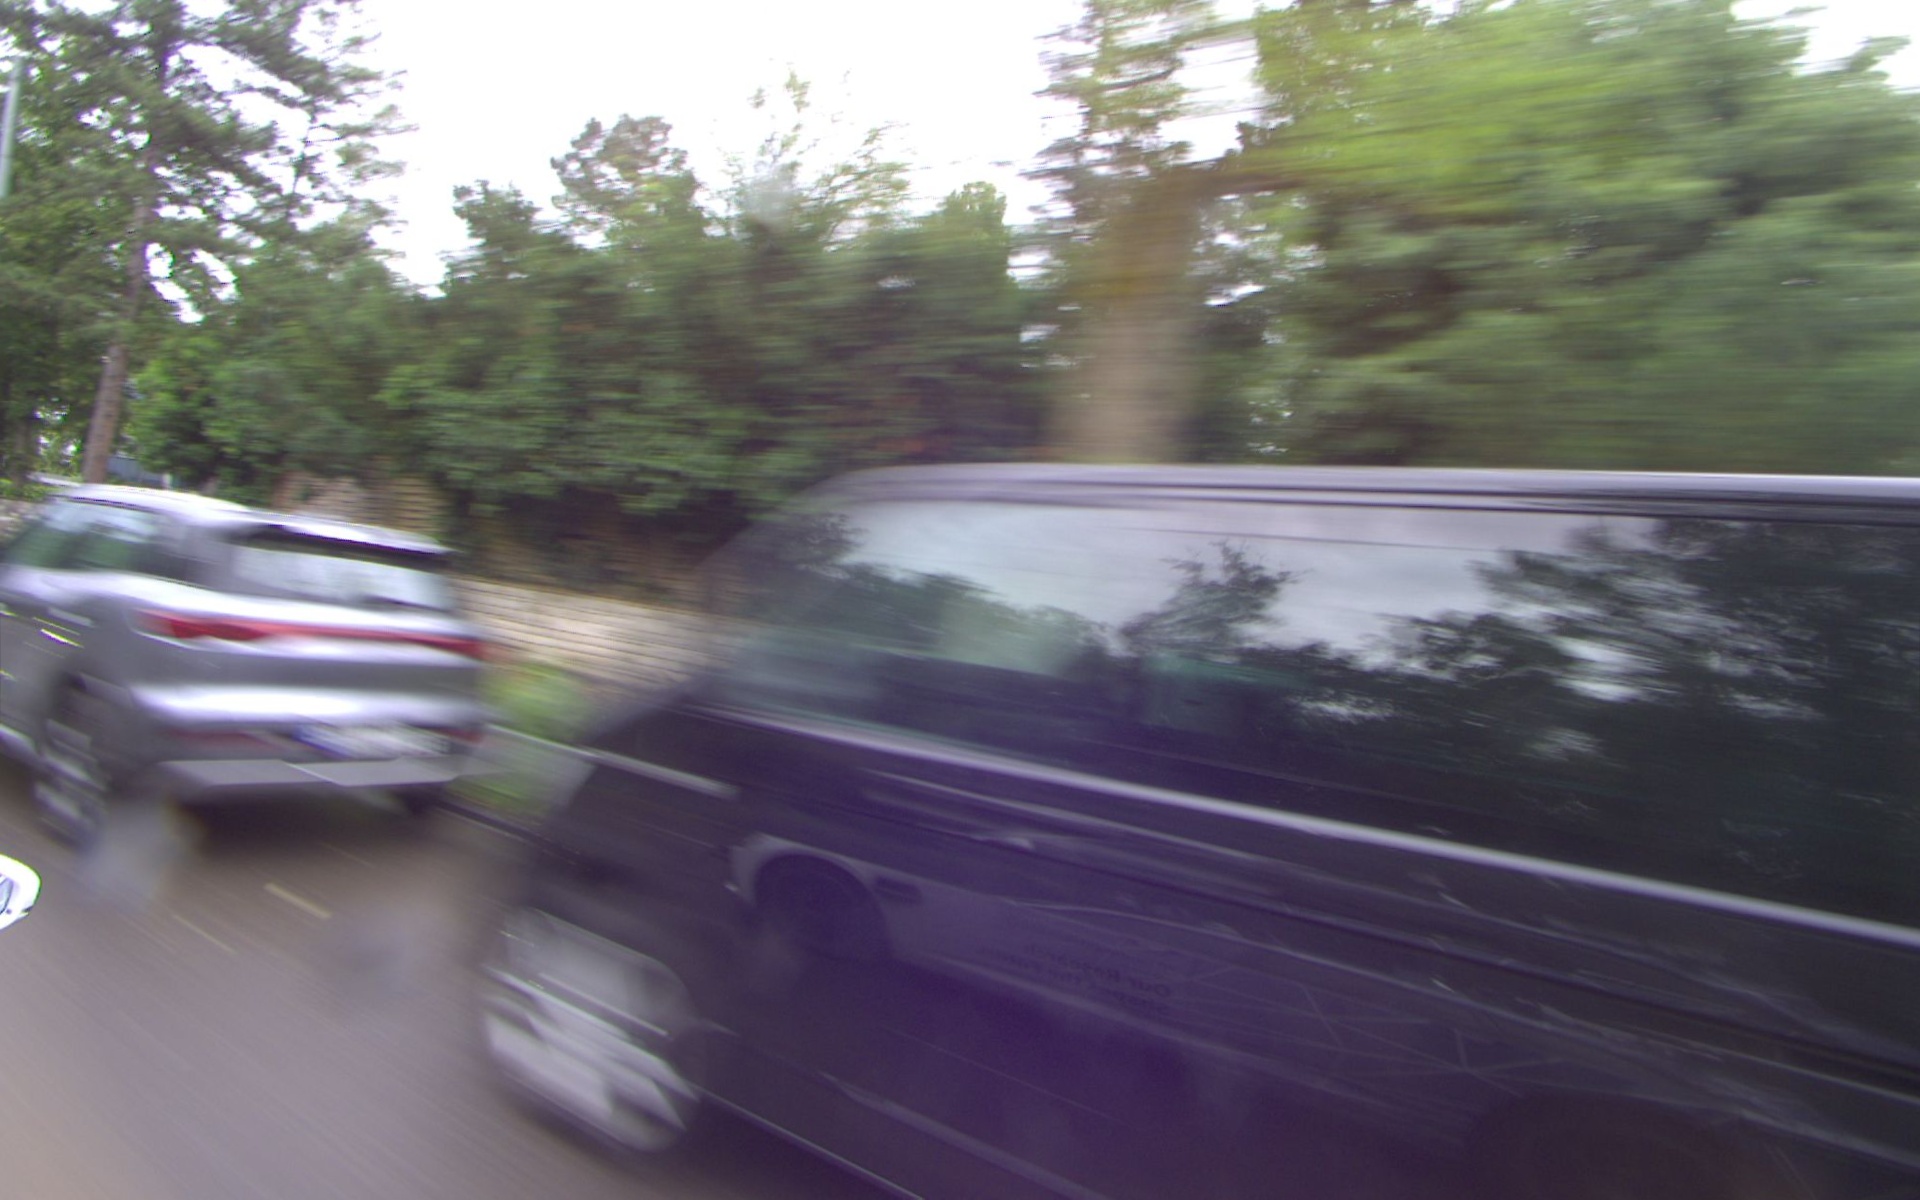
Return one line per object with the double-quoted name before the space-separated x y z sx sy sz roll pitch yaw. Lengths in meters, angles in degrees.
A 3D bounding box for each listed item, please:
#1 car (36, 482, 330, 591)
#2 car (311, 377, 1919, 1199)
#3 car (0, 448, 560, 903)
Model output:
"car" -15.745 -1.229 20.626 1.967 1.704 4.311 6 1 32
"car" 0.616 0.697 2.779 4.807 2.036 1.998 8 -2 32
"car" -4.544 0.188 5.848 4.255 1.742 1.777 8 -2 32
